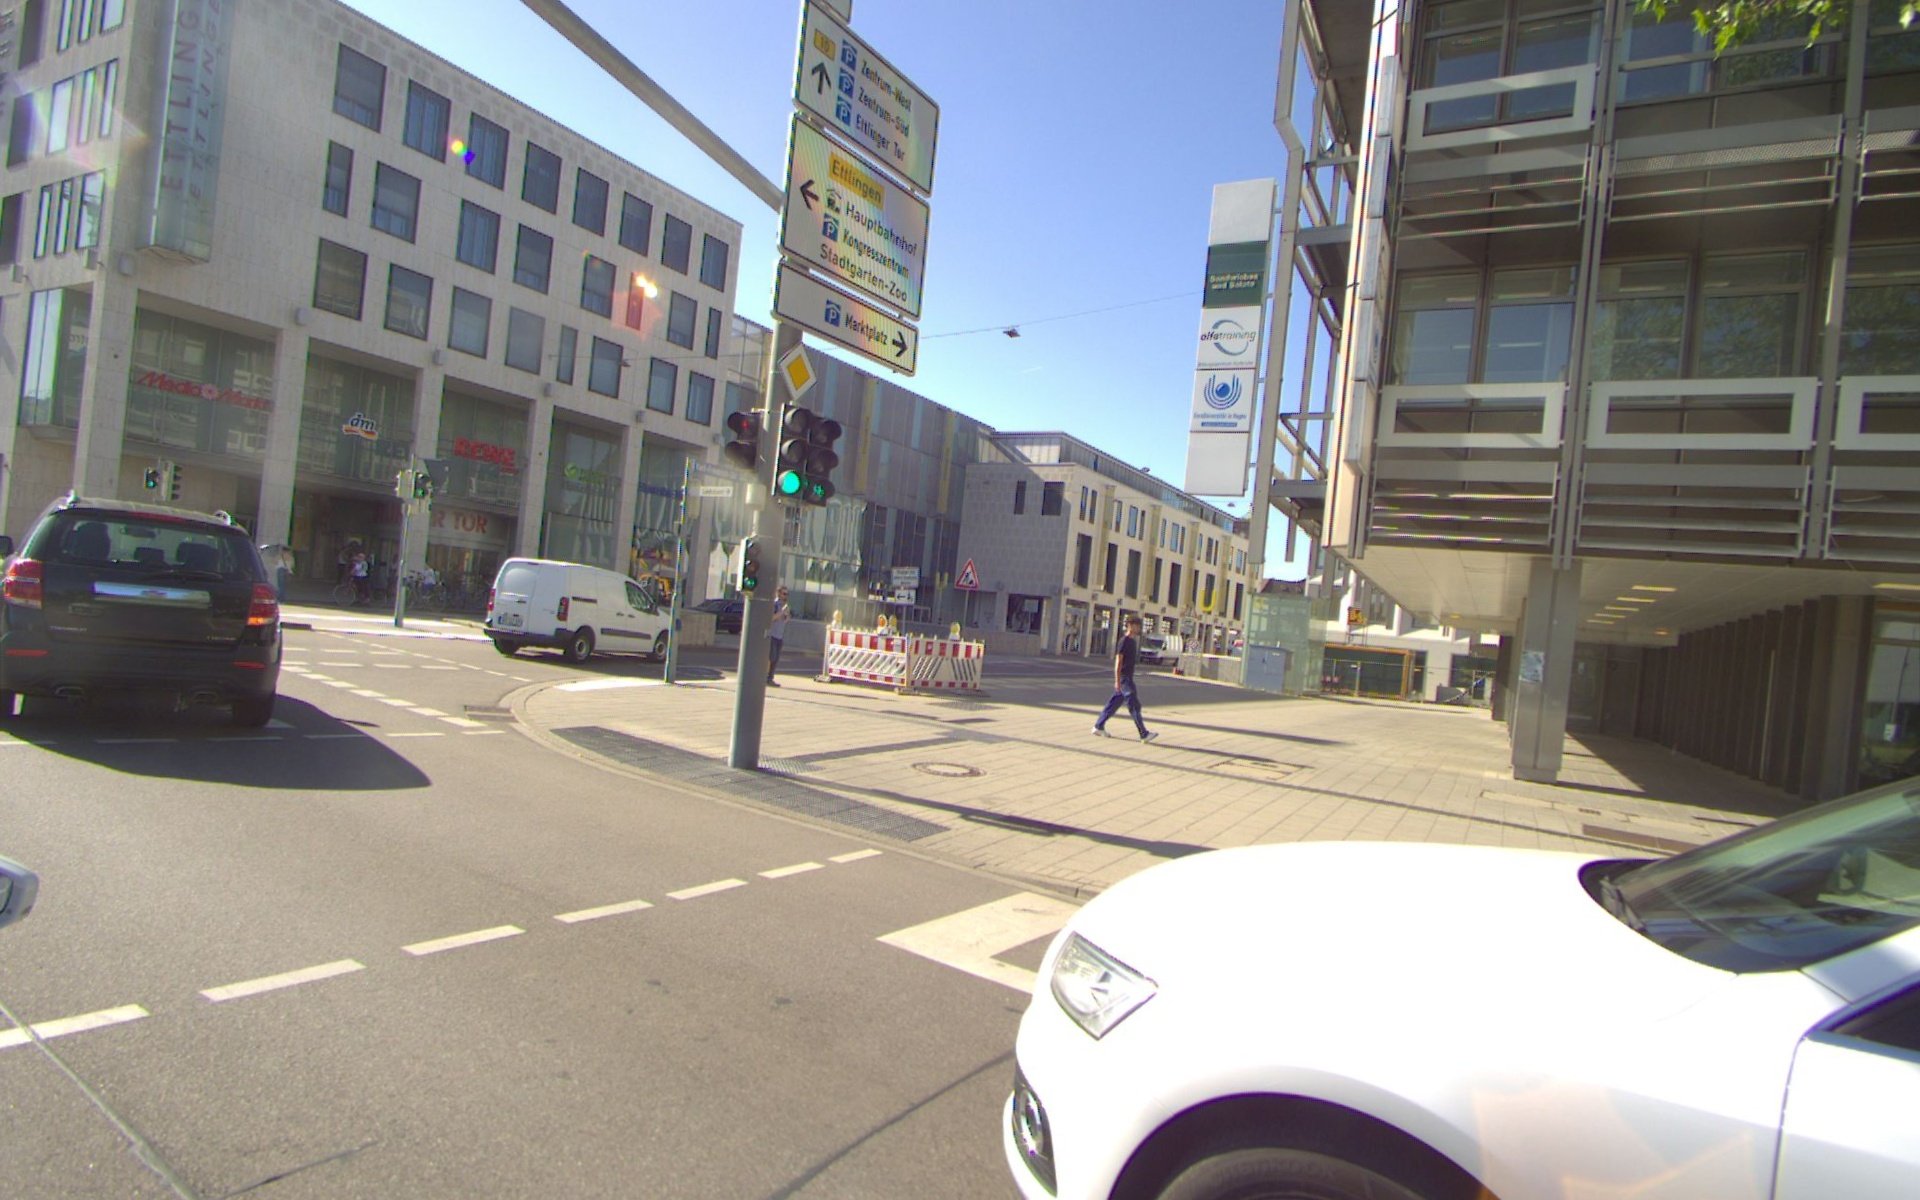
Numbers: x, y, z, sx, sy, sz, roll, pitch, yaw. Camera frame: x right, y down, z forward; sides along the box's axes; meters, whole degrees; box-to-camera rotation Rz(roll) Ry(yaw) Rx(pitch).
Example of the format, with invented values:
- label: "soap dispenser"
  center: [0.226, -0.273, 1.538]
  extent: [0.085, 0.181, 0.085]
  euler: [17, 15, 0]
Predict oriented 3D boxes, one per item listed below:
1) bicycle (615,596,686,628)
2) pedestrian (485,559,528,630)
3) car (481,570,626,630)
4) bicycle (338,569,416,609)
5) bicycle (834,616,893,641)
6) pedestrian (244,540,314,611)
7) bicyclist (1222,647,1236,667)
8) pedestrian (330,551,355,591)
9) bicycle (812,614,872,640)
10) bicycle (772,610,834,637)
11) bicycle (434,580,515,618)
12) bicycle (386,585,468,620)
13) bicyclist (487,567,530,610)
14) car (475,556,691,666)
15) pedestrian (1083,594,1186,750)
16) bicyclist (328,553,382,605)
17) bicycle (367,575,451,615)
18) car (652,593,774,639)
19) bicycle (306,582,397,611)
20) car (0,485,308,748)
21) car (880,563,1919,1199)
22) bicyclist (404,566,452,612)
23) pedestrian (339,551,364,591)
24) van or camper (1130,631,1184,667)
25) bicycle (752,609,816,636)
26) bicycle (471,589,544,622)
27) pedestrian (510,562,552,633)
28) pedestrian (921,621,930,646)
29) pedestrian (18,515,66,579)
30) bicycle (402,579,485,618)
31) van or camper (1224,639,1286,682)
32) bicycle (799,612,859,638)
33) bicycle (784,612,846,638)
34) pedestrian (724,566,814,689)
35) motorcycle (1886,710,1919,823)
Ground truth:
- label: "bicycle"
  center: [-14.262, 0.564, 46.250]
  extent: [3.440, 1.107, 1.067]
  euler: [5, -1, 32]
- label: "pedestrian"
  center: [-10.905, -0.121, 24.204]
  extent: [0.517, 1.633, 0.661]
  euler: [5, 1, 21]
- label: "car"
  center: [-13.625, 0.033, 33.979]
  extent: [1.831, 1.631, 4.191]
  euler: [4, -2, 32]
- label: "bicycle"
  center: [-20.882, -0.399, 35.990]
  extent: [2.942, 1.107, 1.067]
  euler: [5, -1, 32]
- label: "bicycle"
  center: [-5.714, 1.678, 59.343]
  extent: [3.440, 1.107, 1.067]
  euler: [5, -1, 32]
- label: "pedestrian"
  center: [-19.011, -0.679, 28.070]
  extent: [1.497, 1.825, 0.968]
  euler: [6, 1, 29]
- label: "bicyclist"
  center: [23.781, 5.049, 88.924]
  extent: [0.783, 1.690, 0.954]
  euler: [5, -1, 32]
- label: "pedestrian"
  center: [-28.505, -1.329, 46.442]
  extent: [0.639, 1.784, 0.556]
  euler: [6, 0, -7]
- label: "bicycle"
  center: [-6.832, 1.563, 58.142]
  extent: [3.440, 1.107, 1.067]
  euler: [5, -1, 32]
- label: "bicycle"
  center: [-8.610, 1.257, 55.052]
  extent: [3.440, 1.107, 1.067]
  euler: [5, -1, 32]
- label: "bicycle"
  center: [-18.741, -0.061, 38.795]
  extent: [3.440, 1.107, 1.067]
  euler: [5, -1, 32]
- label: "bicycle"
  center: [-18.143, 0.102, 34.280]
  extent: [1.055, 0.955, 2.195]
  euler: [5, -1, 33]
- label: "bicyclist"
  center: [-16.518, -0.423, 36.819]
  extent: [1.024, 1.451, 0.934]
  euler: [6, -1, 33]
- label: "car"
  center: [-7.215, 0.301, 19.768]
  extent: [1.756, 1.754, 4.167]
  euler: [6, -2, 14]
- label: "pedestrian"
  center: [2.487, 1.010, 14.282]
  extent: [1.060, 2.038, 0.949]
  euler: [6, -1, 22]
- label: "bicyclist"
  center: [-19.316, -0.666, 32.138]
  extent: [1.055, 1.494, 1.023]
  euler: [6, -1, 33]
- label: "bicycle"
  center: [-20.300, -0.198, 36.998]
  extent: [3.440, 1.107, 1.067]
  euler: [5, -1, 32]
- label: "car"
  center: [-9.632, 0.667, 39.586]
  extent: [1.831, 1.437, 4.610]
  euler: [4, -2, 32]
- label: "bicycle"
  center: [-19.385, -0.094, 32.098]
  extent: [1.055, 0.679, 2.195]
  euler: [5, -2, 33]
- label: "car"
  center: [-7.234, 0.075, 8.793]
  extent: [1.779, 1.719, 4.361]
  euler: [8, -2, -42]
- label: "car"
  center: [2.194, 0.997, 1.763]
  extent: [4.338, 1.632, 1.823]
  euler: [6, -1, 31]
- label: "bicyclist"
  center: [-18.112, -0.367, 34.244]
  extent: [1.059, 1.413, 0.934]
  euler: [6, -1, 33]
- label: "pedestrian"
  center: [-28.629, -1.367, 47.339]
  extent: [0.639, 1.784, 0.556]
  euler: [6, 0, -7]
- label: "van or camper"
  center: [16.438, 4.140, 83.697]
  extent: [2.142, 2.544, 6.416]
  euler: [6, -1, 31]
- label: "bicycle"
  center: [-9.448, 1.200, 53.961]
  extent: [3.440, 1.107, 1.067]
  euler: [5, -1, 32]
- label: "bicycle"
  center: [-16.564, 0.209, 36.864]
  extent: [1.014, 0.943, 2.195]
  euler: [5, -1, 33]
- label: "pedestrian"
  center: [-10.274, -0.044, 24.095]
  extent: [0.517, 1.633, 0.661]
  euler: [5, 1, 21]
- label: "pedestrian"
  center: [-2.352, 2.313, 69.290]
  extent: [0.291, 1.704, 0.337]
  euler: [6, 0, 39]
- label: "pedestrian"
  center: [-27.977, -1.614, 30.654]
  extent: [1.048, 1.825, 0.728]
  euler: [6, 1, 29]
- label: "bicycle"
  center: [-19.429, -0.056, 37.829]
  extent: [3.440, 1.107, 1.067]
  euler: [5, -1, 32]
- label: "van or camper"
  center: [20.543, 4.223, 69.783]
  extent: [2.286, 2.544, 6.415]
  euler: [5, -1, 32]
- label: "bicycle"
  center: [-7.472, 1.441, 57.171]
  extent: [3.440, 1.107, 1.067]
  euler: [5, -1, 32]
- label: "bicycle"
  center: [-8.096, 1.389, 56.116]
  extent: [3.440, 1.107, 1.067]
  euler: [5, -1, 32]
- label: "pedestrian"
  center: [-3.380, 0.495, 17.885]
  extent: [1.059, 2.038, 0.950]
  euler: [6, 0, 18]
- label: "motorcycle"
  center: [13.701, 2.319, 13.158]
  extent: [2.086, 1.459, 0.824]
  euler: [6, -1, 30]
